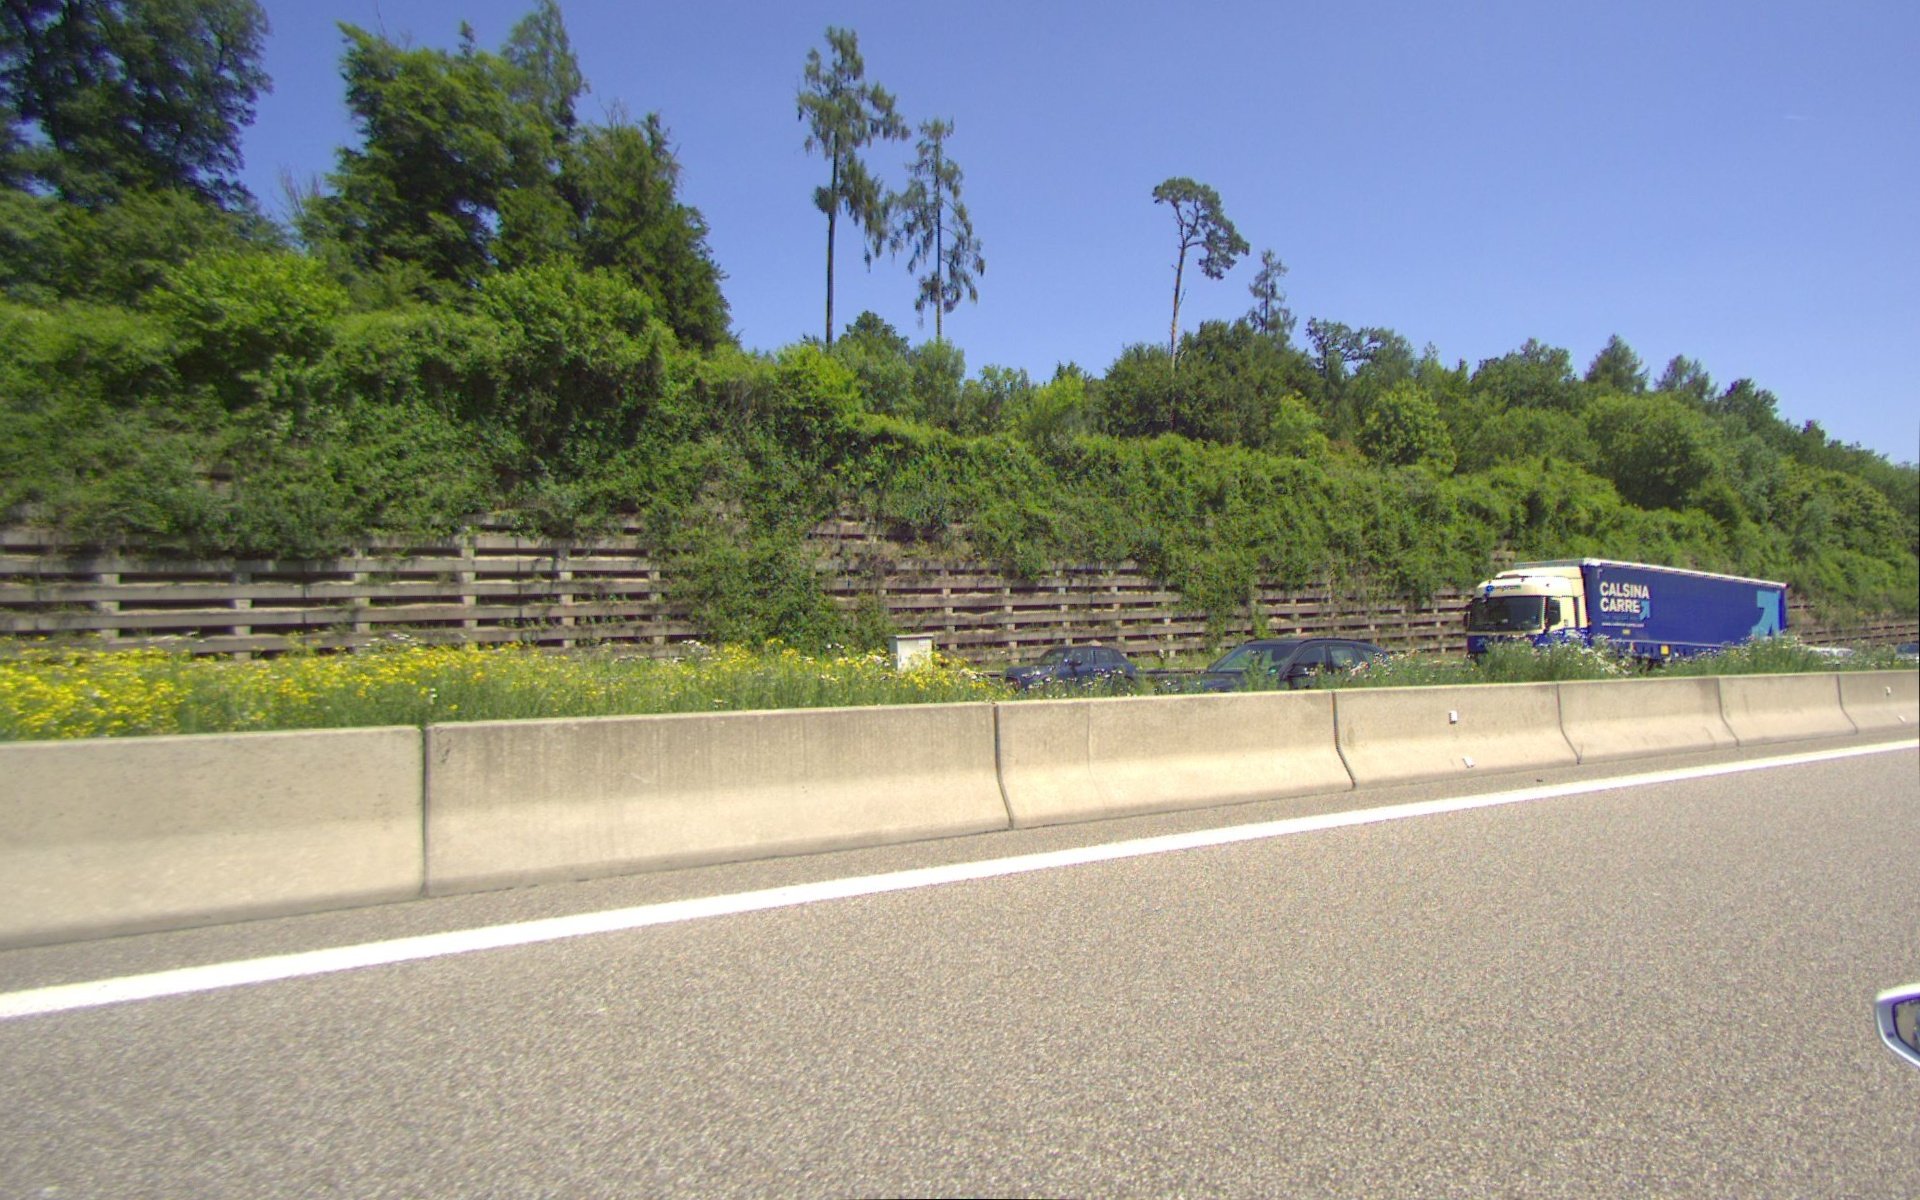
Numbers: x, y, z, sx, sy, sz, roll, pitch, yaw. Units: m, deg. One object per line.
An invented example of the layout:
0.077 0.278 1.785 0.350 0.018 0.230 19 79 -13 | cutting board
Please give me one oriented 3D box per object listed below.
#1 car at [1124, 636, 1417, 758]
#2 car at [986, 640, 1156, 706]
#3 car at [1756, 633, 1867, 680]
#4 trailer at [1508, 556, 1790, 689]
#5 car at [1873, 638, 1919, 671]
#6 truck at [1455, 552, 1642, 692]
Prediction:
4.696 1.342 15.041 4.320 1.546 1.720 0 -1 -30 | car
2.998 1.888 26.808 4.321 1.546 1.776 0 -1 -30 | car
28.451 1.857 33.565 3.667 1.394 1.650 1 1 -30 | car
24.711 0.793 35.541 14.024 4.068 2.666 1 0 -31 | trailer
47.109 2.670 49.548 4.863 1.472 1.650 1 -1 -30 | car
18.745 0.674 31.951 5.862 4.084 2.667 1 0 -31 | truck
